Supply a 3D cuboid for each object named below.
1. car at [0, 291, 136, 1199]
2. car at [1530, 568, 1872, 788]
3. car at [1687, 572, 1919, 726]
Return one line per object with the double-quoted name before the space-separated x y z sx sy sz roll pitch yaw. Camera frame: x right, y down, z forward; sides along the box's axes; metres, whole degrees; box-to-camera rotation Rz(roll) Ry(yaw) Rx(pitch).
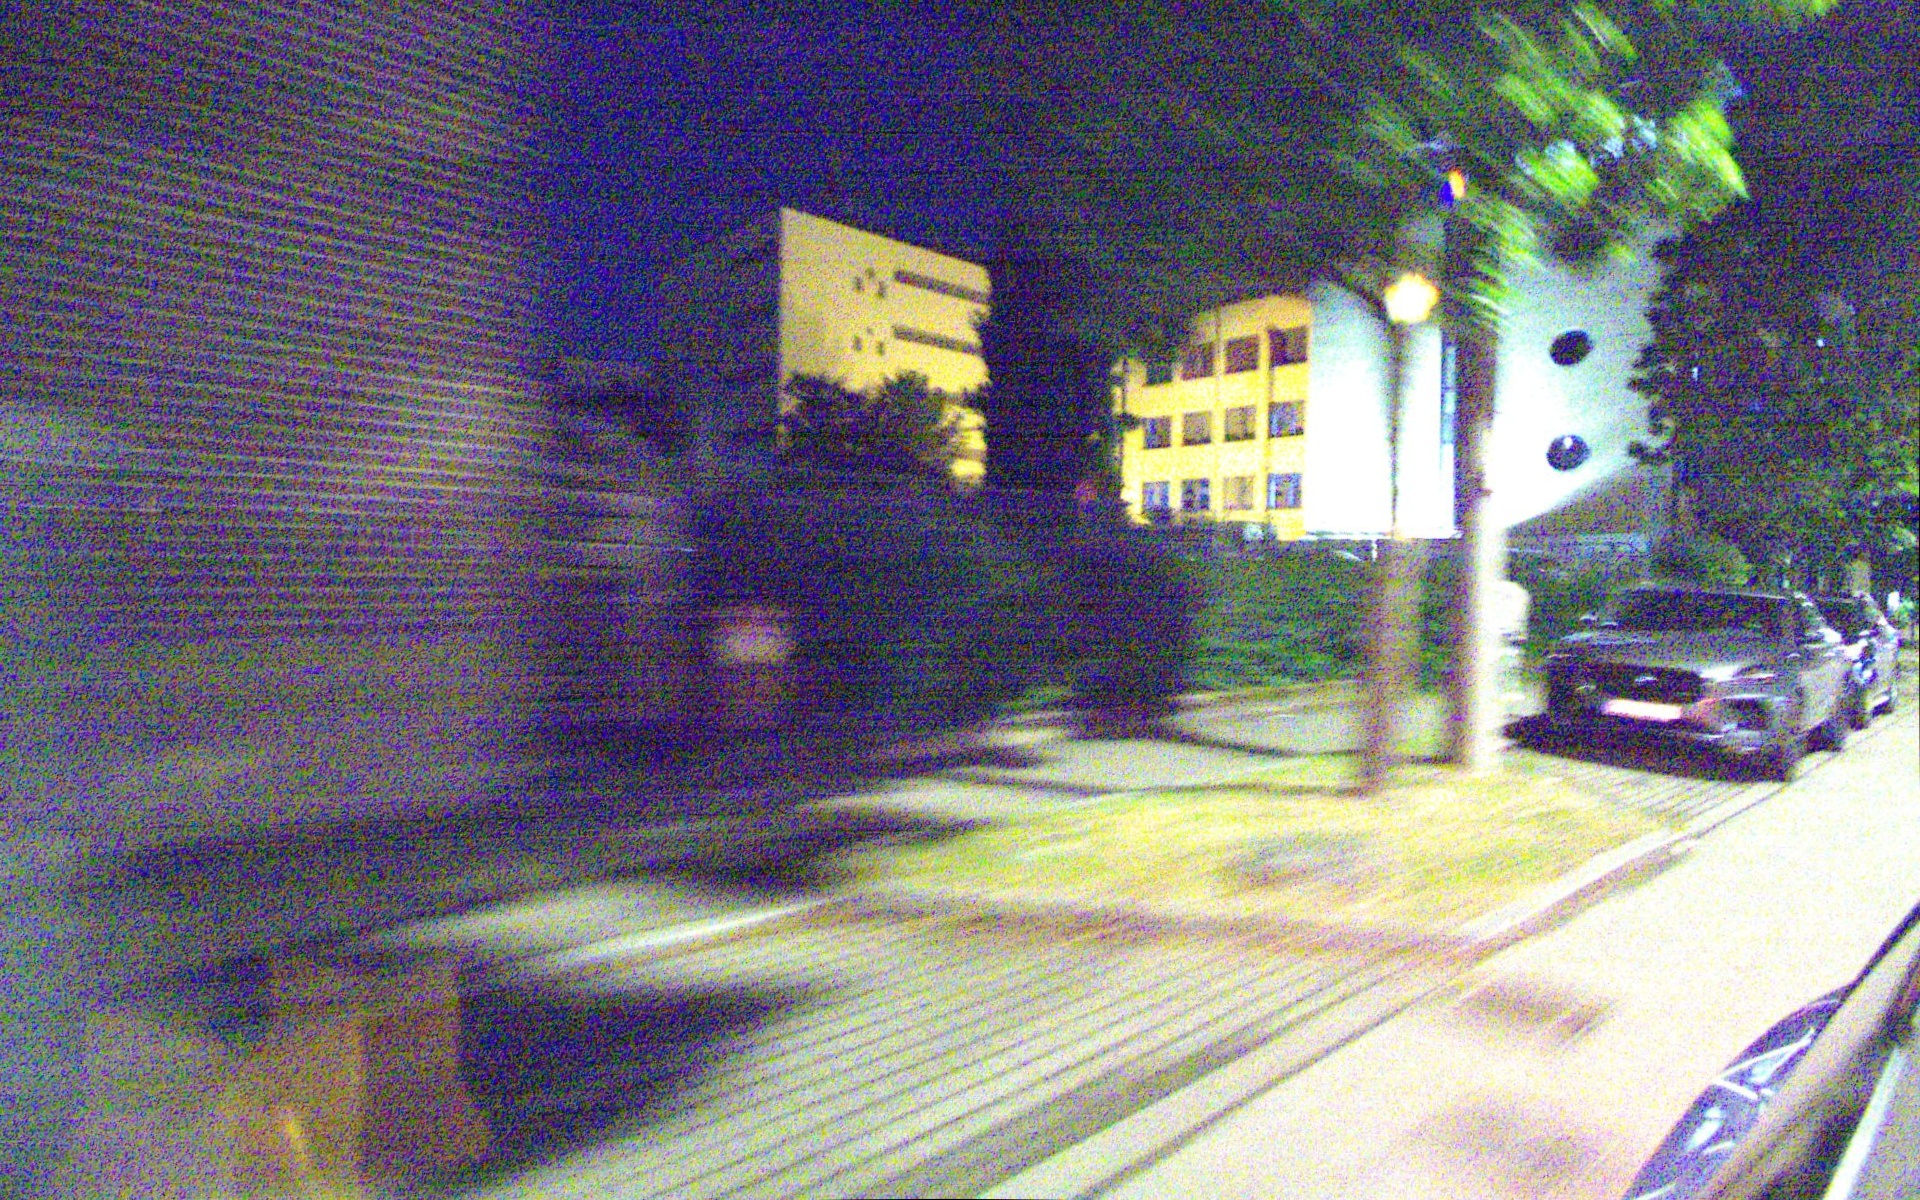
"car" -3.284 0.465 0.614 4.206 1.829 1.774 0 3 -44
"car" 7.329 0.579 9.852 4.137 1.624 1.856 0 3 -43
"car" 11.437 0.541 13.585 4.137 1.674 1.856 0 3 -43
